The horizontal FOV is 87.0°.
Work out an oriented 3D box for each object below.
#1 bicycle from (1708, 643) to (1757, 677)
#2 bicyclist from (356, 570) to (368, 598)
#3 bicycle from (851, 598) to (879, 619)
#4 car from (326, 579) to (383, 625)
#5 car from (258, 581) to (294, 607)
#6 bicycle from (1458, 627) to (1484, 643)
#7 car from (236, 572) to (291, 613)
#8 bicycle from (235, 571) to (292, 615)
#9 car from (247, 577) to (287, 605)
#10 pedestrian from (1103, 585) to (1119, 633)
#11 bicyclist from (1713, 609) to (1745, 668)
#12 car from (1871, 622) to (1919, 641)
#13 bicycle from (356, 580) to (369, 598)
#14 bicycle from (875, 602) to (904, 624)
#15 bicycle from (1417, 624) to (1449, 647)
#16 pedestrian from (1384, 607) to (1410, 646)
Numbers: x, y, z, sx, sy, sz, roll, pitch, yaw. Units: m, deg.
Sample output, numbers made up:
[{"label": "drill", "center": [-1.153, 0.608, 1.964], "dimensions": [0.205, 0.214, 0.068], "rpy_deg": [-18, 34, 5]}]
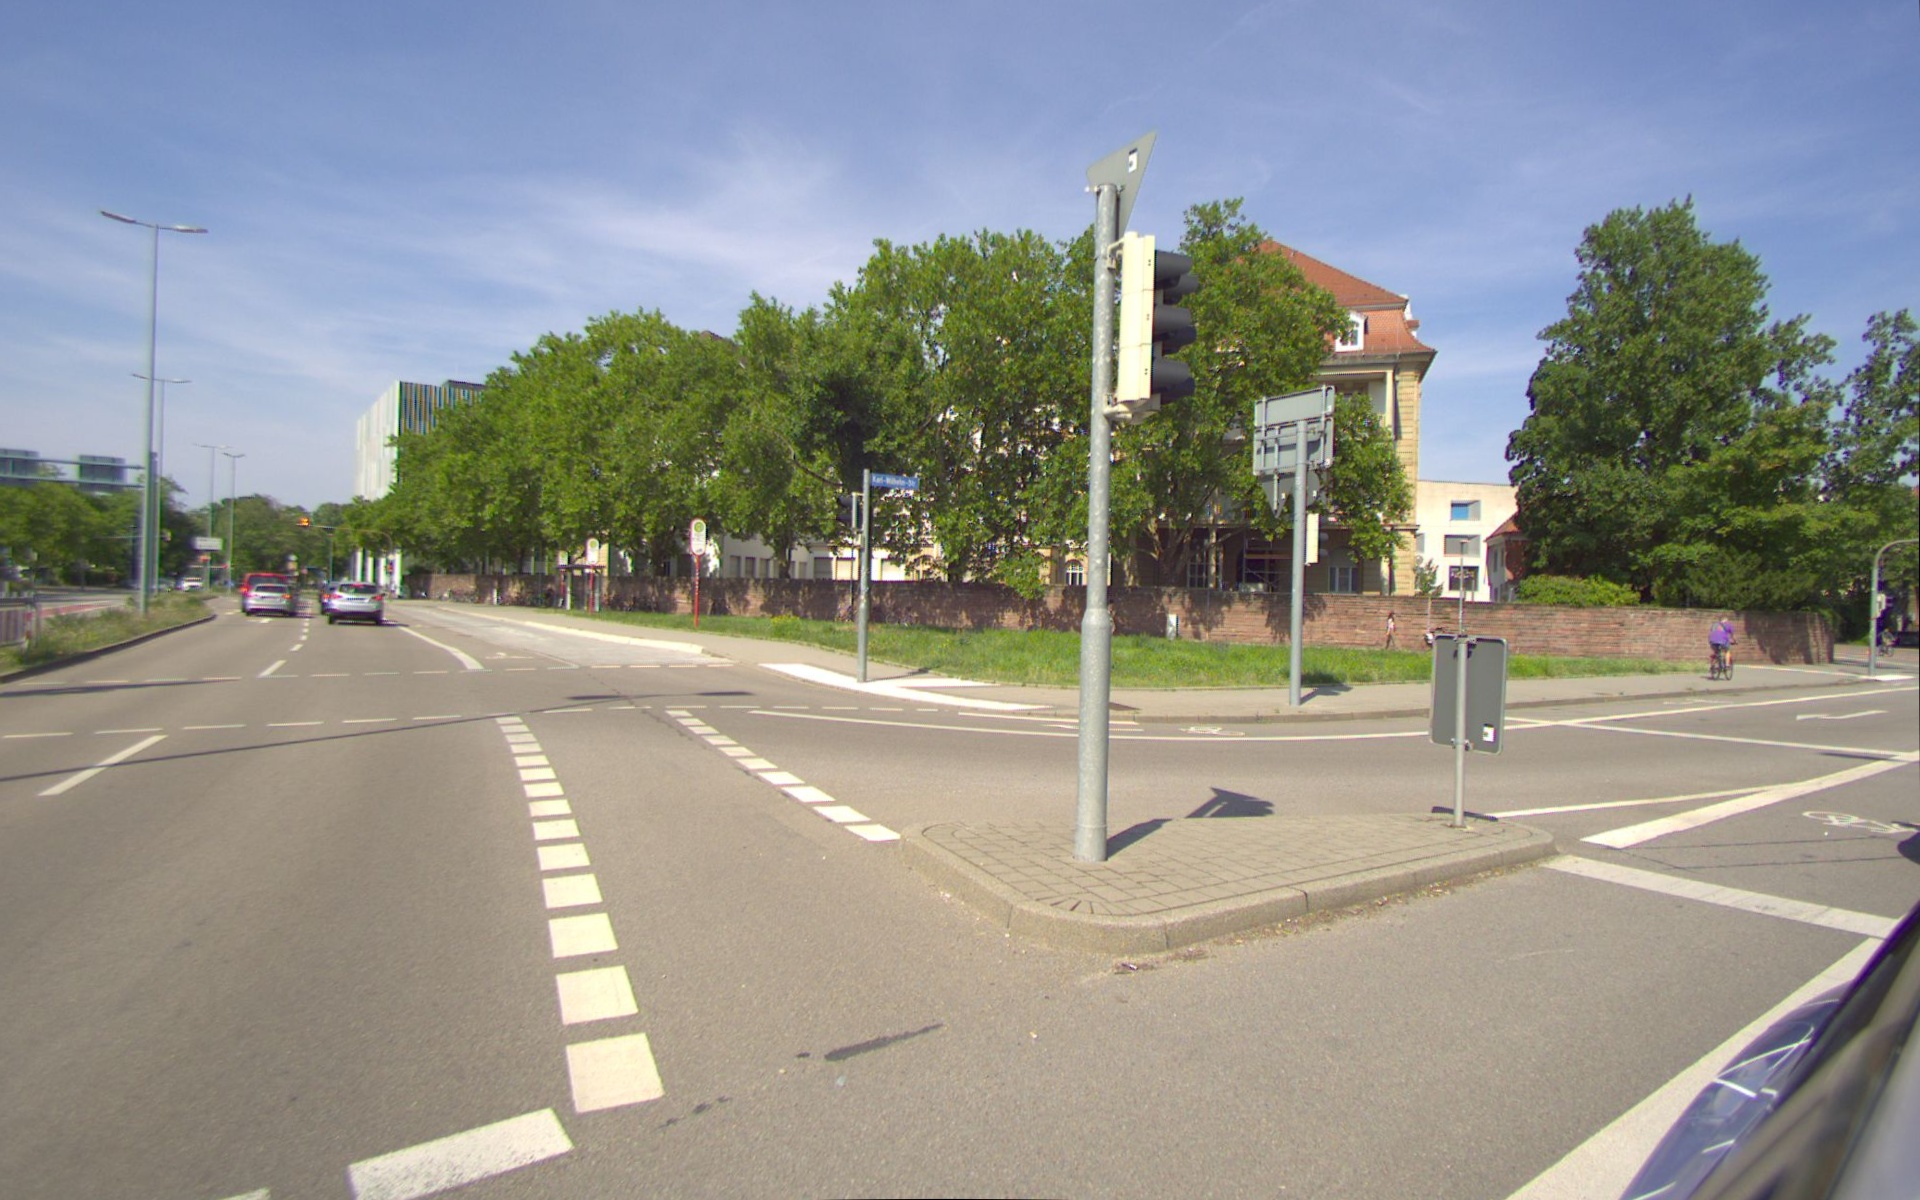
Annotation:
[{"label": "bicycle", "center": [22.230, 1.705, 29.123], "dimensions": [1.897, 0.899, 0.685], "rpy_deg": [1, 0, -39]}, {"label": "bicyclist", "center": [-45.833, -1.210, 77.611], "dimensions": [0.762, 2.040, 1.275], "rpy_deg": [1, -2, -30]}, {"label": "bicycle", "center": [-4.904, 0.442, 52.239], "dimensions": [1.434, 1.046, 0.443], "rpy_deg": [2, 0, 28]}, {"label": "car", "center": [-23.524, 0.041, 39.421], "dimensions": [1.677, 1.638, 4.223], "rpy_deg": [2, 0, -29]}, {"label": "car", "center": [-43.185, -0.389, 63.873], "dimensions": [1.767, 1.529, 3.999], "rpy_deg": [-1, 2, -36]}, {"label": "bicycle", "center": [20.996, 1.451, 41.595], "dimensions": [0.930, 0.609, 0.274], "rpy_deg": [2, 0, 2]}, {"label": "car", "center": [-33.785, -0.384, 49.035], "dimensions": [1.942, 1.820, 4.609], "rpy_deg": [2, 0, -37]}, {"label": "bicycle", "center": [-30.243, -0.326, 43.973], "dimensions": [1.962, 1.838, 4.001], "rpy_deg": [1, 1, -35]}, {"label": "car", "center": [-39.810, -0.543, 58.086], "dimensions": [1.767, 1.529, 3.999], "rpy_deg": [-1, 2, -36]}, {"label": "pedestrian", "center": [6.595, 0.388, 44.197], "dimensions": [0.587, 2.039, 0.521], "rpy_deg": [1, 0, 12]}, {"label": "bicyclist", "center": [22.212, 1.091, 29.219], "dimensions": [1.065, 1.657, 0.487], "rpy_deg": [2, 0, -40]}, {"label": "car", "center": [87.899, 2.909, 94.350], "dimensions": [3.948, 1.683, 1.988], "rpy_deg": [-1, 1, 19]}, {"label": "bicycle", "center": [-45.819, -0.809, 77.559], "dimensions": [0.832, 1.233, 3.487], "rpy_deg": [1, -2, -31]}, {"label": "bicycle", "center": [-3.609, 0.656, 51.514], "dimensions": [1.434, 1.046, 0.443], "rpy_deg": [2, 0, 28]}, {"label": "bicycle", "center": [19.362, 1.463, 41.433], "dimensions": [1.202, 0.894, 0.395], "rpy_deg": [2, 0, -17]}, {"label": "pedestrian", "center": [17.815, 1.073, 41.269], "dimensions": [0.901, 1.567, 0.500], "rpy_deg": [2, 0, 17]}]
